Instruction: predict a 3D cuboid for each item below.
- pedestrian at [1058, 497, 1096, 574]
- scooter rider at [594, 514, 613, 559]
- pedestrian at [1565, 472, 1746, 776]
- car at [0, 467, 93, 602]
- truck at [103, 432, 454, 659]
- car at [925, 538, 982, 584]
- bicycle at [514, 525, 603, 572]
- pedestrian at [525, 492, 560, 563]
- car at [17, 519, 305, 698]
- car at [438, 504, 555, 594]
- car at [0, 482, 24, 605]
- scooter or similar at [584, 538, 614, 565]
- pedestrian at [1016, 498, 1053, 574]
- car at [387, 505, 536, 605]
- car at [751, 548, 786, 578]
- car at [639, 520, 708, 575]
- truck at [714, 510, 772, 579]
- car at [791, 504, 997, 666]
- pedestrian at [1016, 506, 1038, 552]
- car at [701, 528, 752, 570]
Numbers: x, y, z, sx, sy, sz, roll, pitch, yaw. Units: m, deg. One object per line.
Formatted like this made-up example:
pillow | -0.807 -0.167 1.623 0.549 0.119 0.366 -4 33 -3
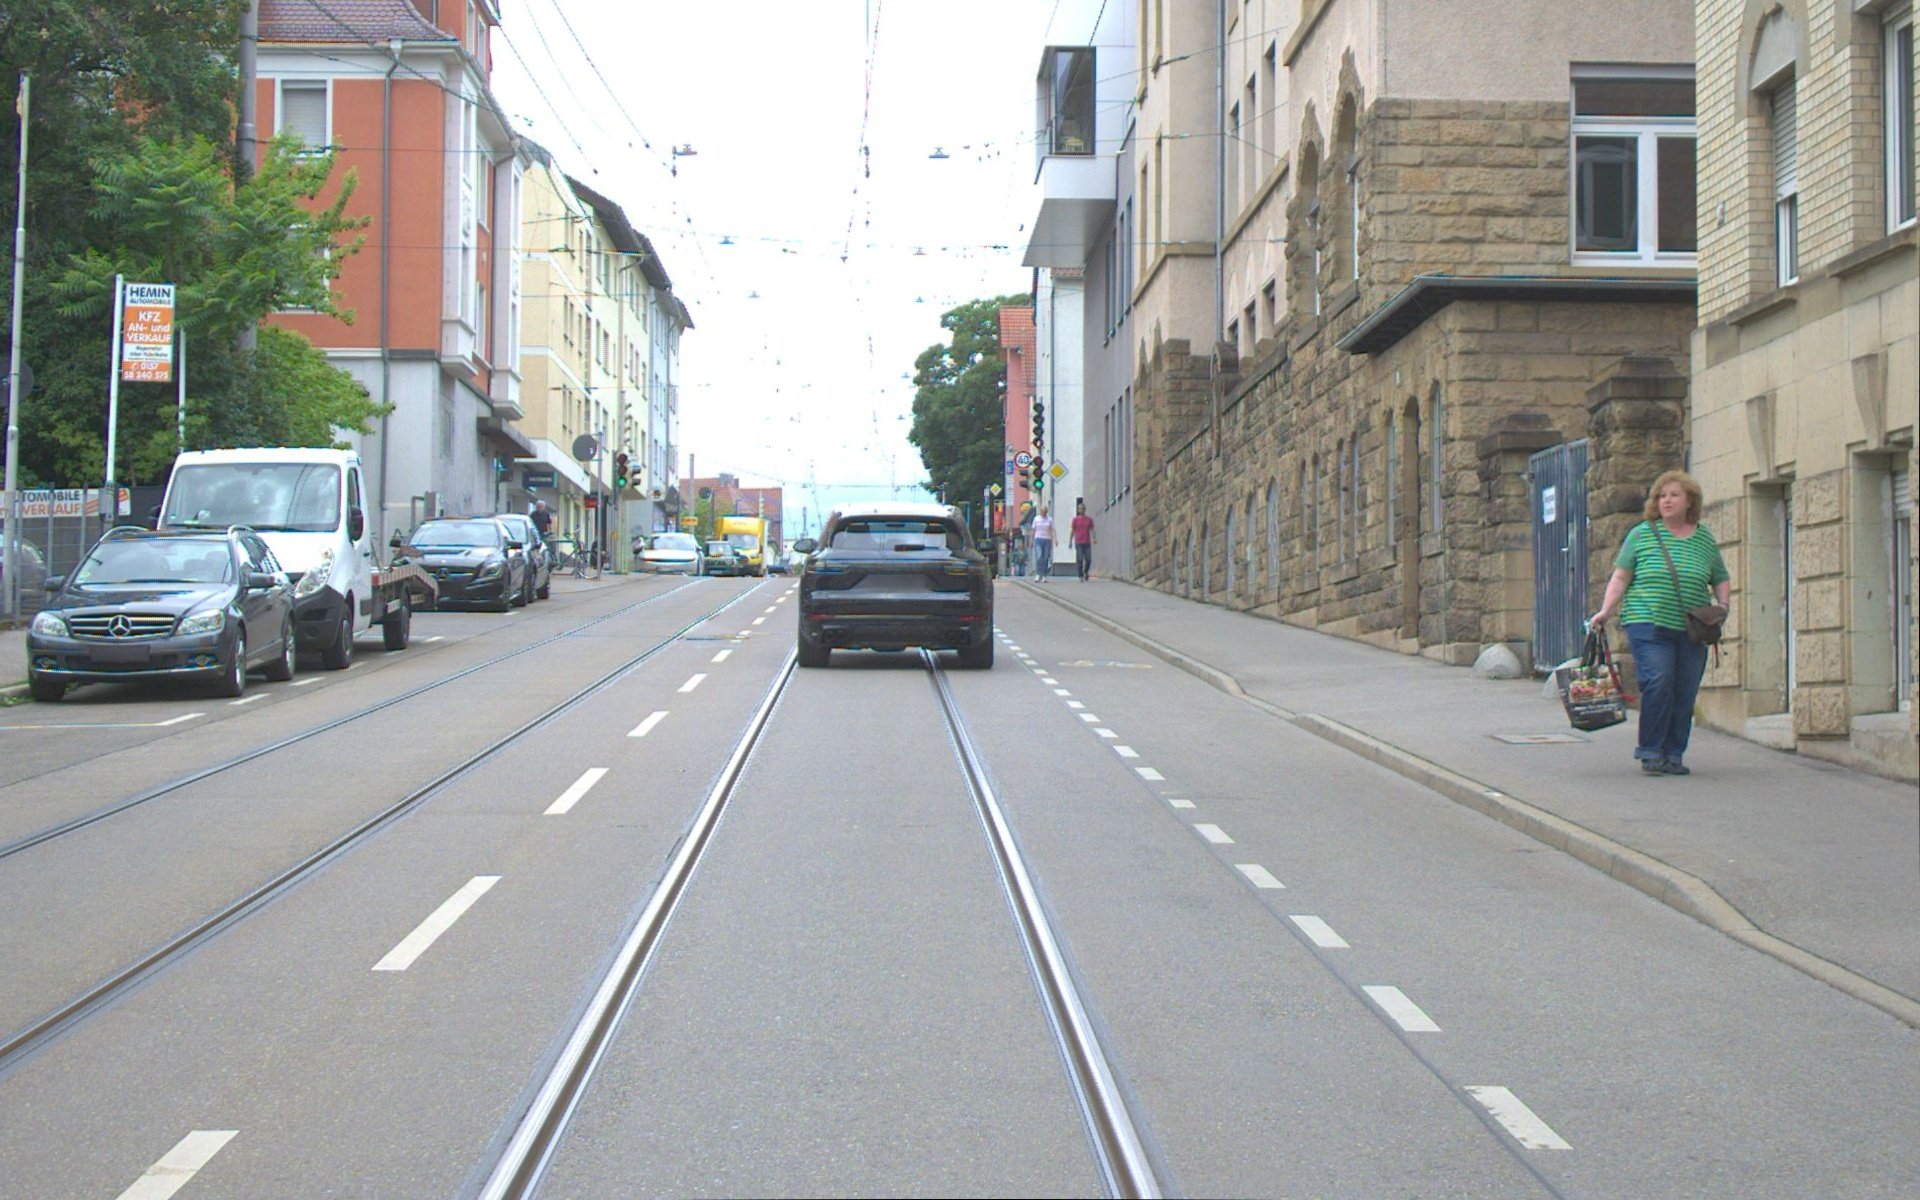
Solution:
pedestrian | 2.565 -1.421 75.285 0.791 1.661 0.799 1 1 1
scooter rider | -12.507 -2.239 120.698 0.648 1.580 0.766 1 2 -6
pedestrian | 3.946 0.127 19.548 0.870 1.680 0.663 -1 1 0
car | -12.242 -0.794 40.329 3.958 1.546 1.689 0 1 -16
truck | -7.232 -0.634 37.526 2.280 2.180 8.026 1 1 0
car | -0.247 -1.410 123.910 1.993 1.557 4.290 1 1 -1
bicycle | -8.868 -1.142 75.953 1.911 0.996 0.479 1 1 -1
pedestrian | -10.599 -1.839 87.283 0.775 1.770 0.650 1 1 0
car | -7.025 0.016 30.633 1.696 1.428 4.482 -1 2 -3
car | -7.785 -0.881 57.927 1.515 1.441 3.710 1 1 -1
car | -12.452 -0.653 37.811 3.875 1.352 1.688 1 1 -2
scooter or similar | -12.681 -1.705 120.699 1.027 0.915 0.473 1 1 -6
pedestrian | 1.632 -1.407 75.358 0.791 1.661 0.799 1 1 1
car | -7.540 -0.710 52.321 1.712 1.441 4.290 1 1 -1
car | -10.755 -2.104 193.229 1.855 1.601 4.298 1 1 -2
car | -8.783 -1.634 105.633 1.855 1.601 4.298 1 1 -2
truck | -9.953 -2.571 158.385 2.302 3.026 9.035 1 1 -2
car | -0.683 -0.201 35.708 1.993 1.557 4.290 1 1 -1
pedestrian | 2.456 -2.611 125.995 0.791 1.661 0.799 1 1 1
car | -9.358 -2.074 138.217 1.855 1.601 4.298 1 1 -2
